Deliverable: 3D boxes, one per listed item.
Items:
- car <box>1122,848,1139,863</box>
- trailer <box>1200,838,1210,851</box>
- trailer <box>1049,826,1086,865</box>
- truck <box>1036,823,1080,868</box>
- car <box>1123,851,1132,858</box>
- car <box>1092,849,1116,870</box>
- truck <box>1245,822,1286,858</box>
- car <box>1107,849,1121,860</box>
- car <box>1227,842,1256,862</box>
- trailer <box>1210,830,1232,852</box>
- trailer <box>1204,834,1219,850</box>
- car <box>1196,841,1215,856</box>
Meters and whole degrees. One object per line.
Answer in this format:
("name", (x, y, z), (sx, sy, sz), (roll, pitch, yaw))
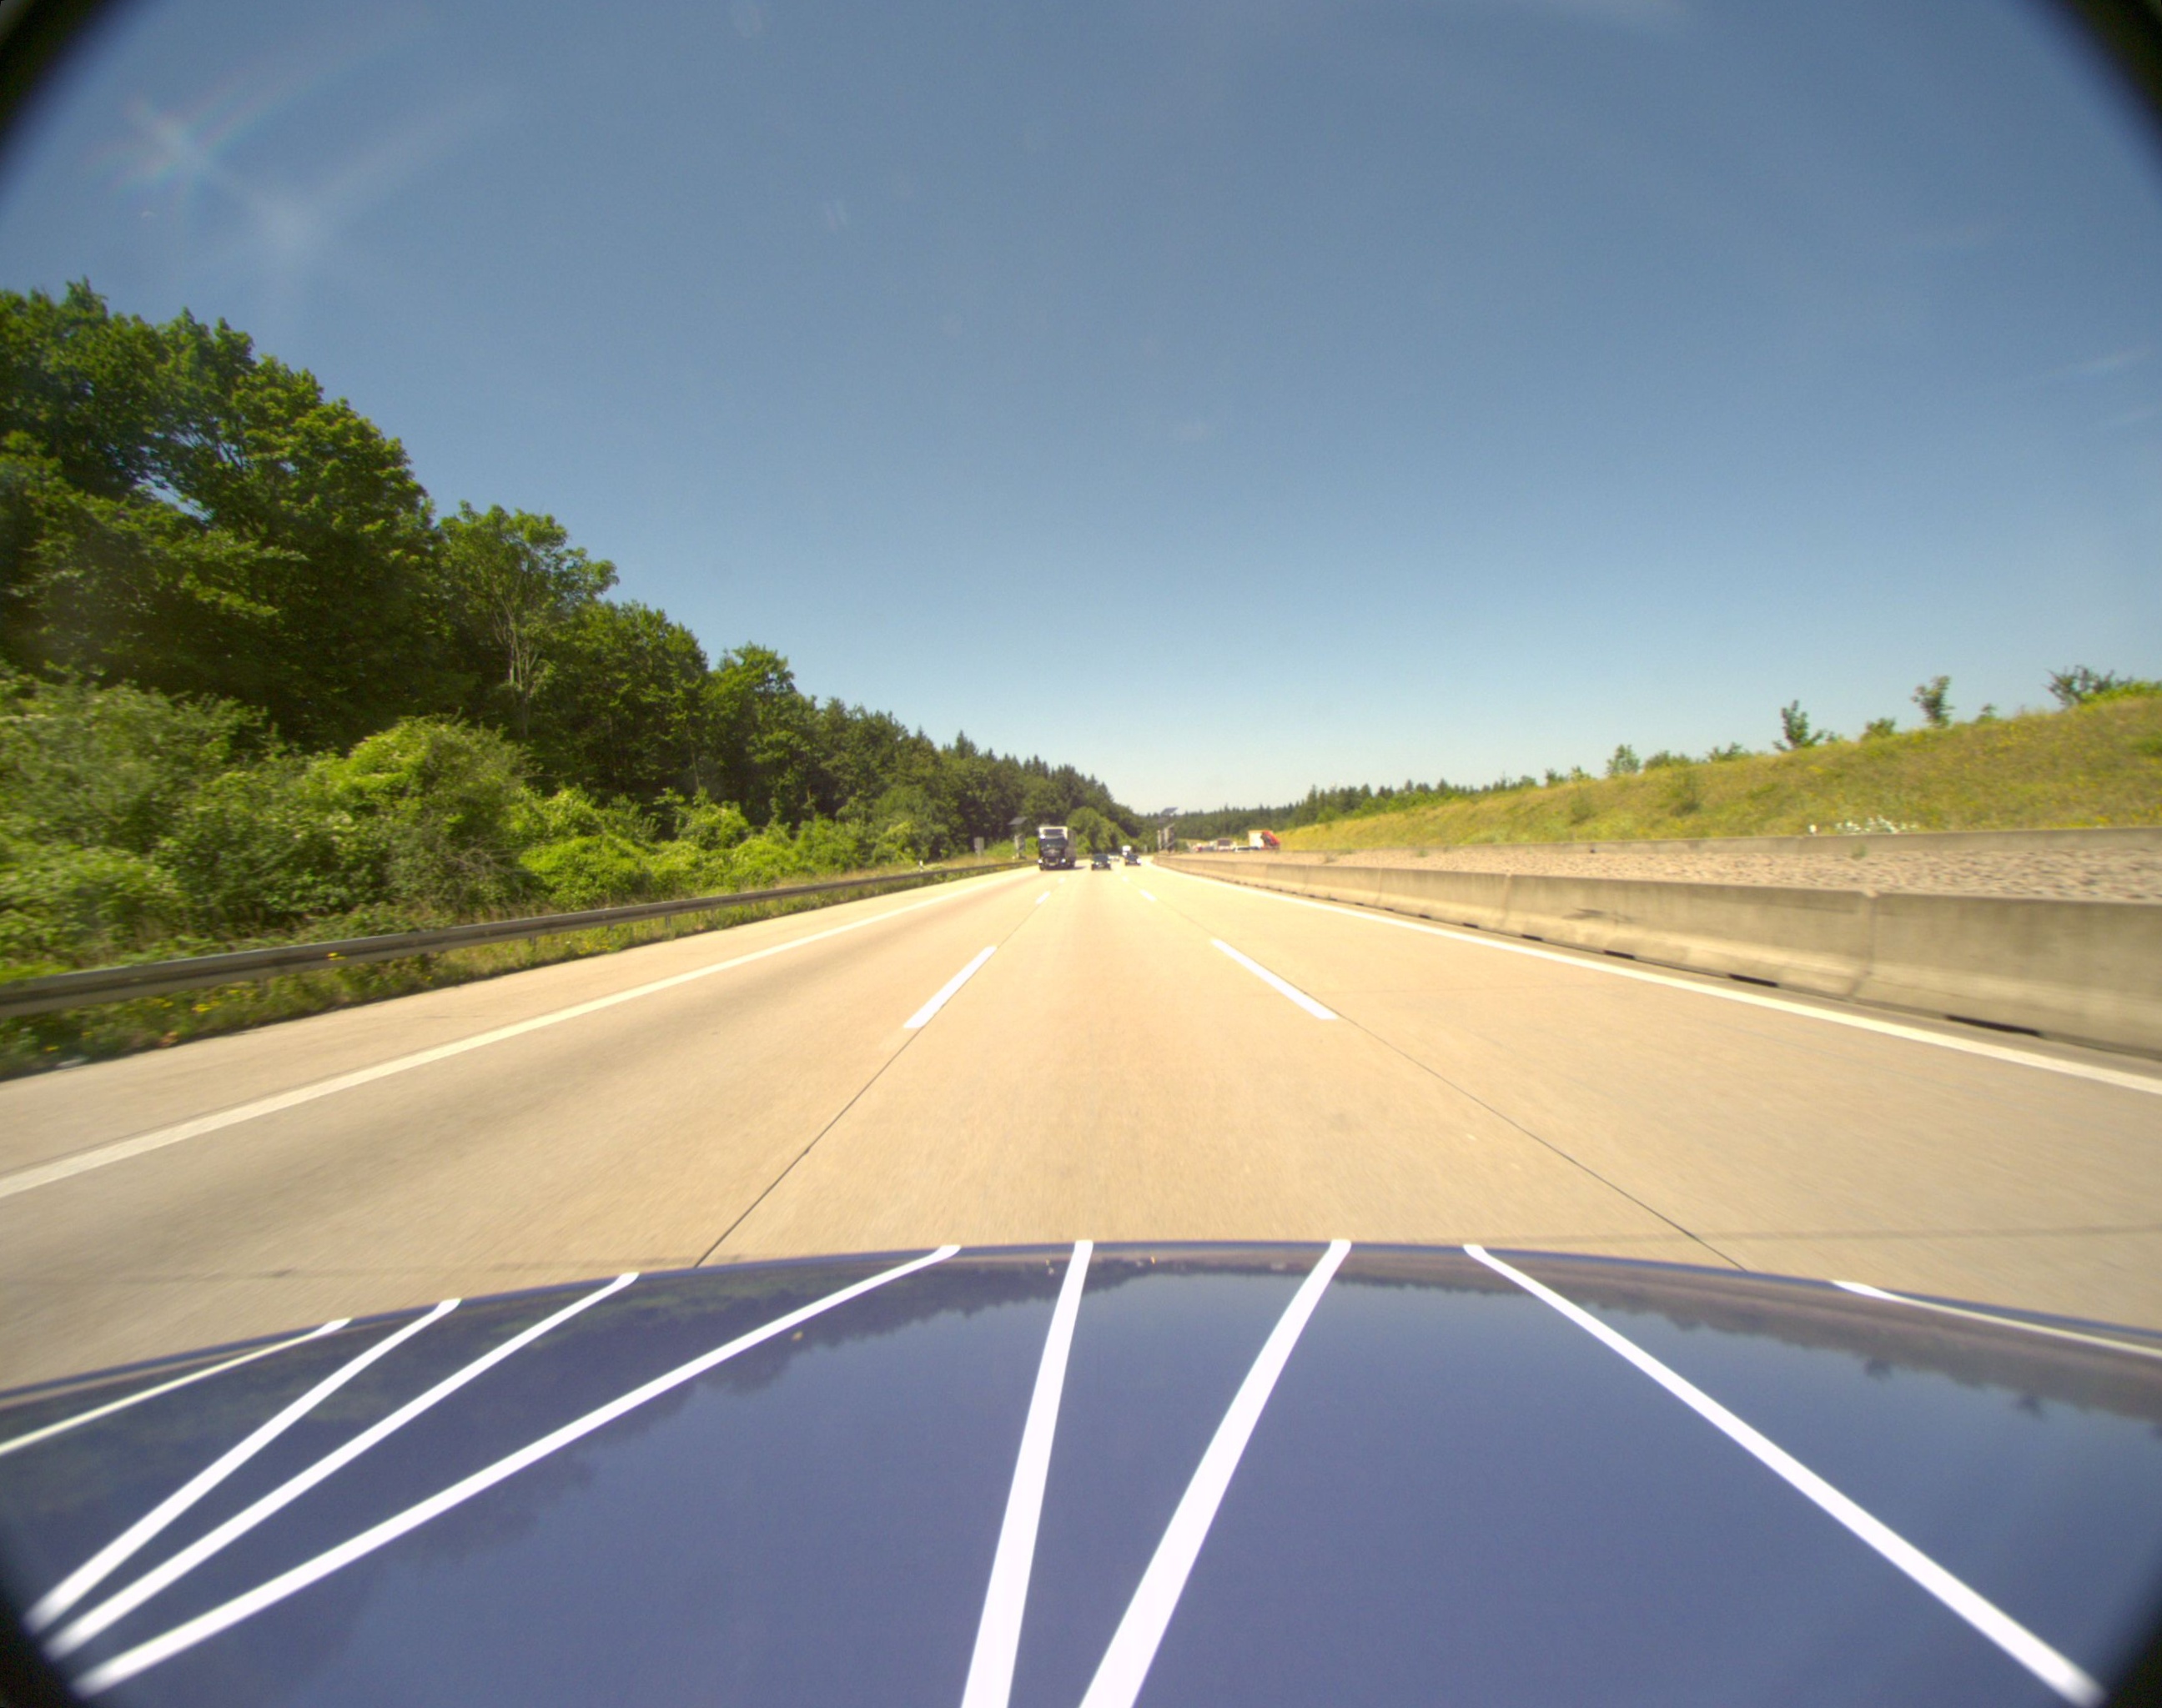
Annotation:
("car", (5.800, 0.161, 89.415), (1.842, 1.547, 4.000), (-3, 1, 3))
("trailer", (42.752, -3.450, 262.262), (2.938, 4.144, 14.397), (-3, 1, 11))
("trailer", (-1.366, -0.925, 83.827), (3.142, 3.993, 9.090), (-1, 0, 4))
("truck", (-2.093, -0.847, 73.988), (3.166, 3.993, 10.610), (-1, 0, 4))
("car", (11.669, 0.179, 189.711), (1.841, 1.547, 4.002), (-3, 1, 10))
("car", (2.165, 0.457, 69.312), (1.930, 1.694, 4.400), (-4, 0, 4))
("truck", (24.241, -1.800, 100.396), (2.921, 4.487, 11.259), (-1, 0, 2))
("car", (5.796, 0.028, 132.348), (1.998, 1.694, 4.401), (-4, 0, 6))
("car", (16.200, -0.216, 76.791), (1.998, 2.002, 4.459), (-1, 1, 0))
("trailer", (29.610, -2.731, 161.512), (2.940, 4.144, 13.192), (-3, 1, 4))
("trailer", (34.857, -3.230, 203.345), (2.939, 4.144, 14.393), (-3, 1, 7))
("car", (17.362, -0.801, 106.012), (1.998, 2.002, 4.459), (-1, 1, 0))
